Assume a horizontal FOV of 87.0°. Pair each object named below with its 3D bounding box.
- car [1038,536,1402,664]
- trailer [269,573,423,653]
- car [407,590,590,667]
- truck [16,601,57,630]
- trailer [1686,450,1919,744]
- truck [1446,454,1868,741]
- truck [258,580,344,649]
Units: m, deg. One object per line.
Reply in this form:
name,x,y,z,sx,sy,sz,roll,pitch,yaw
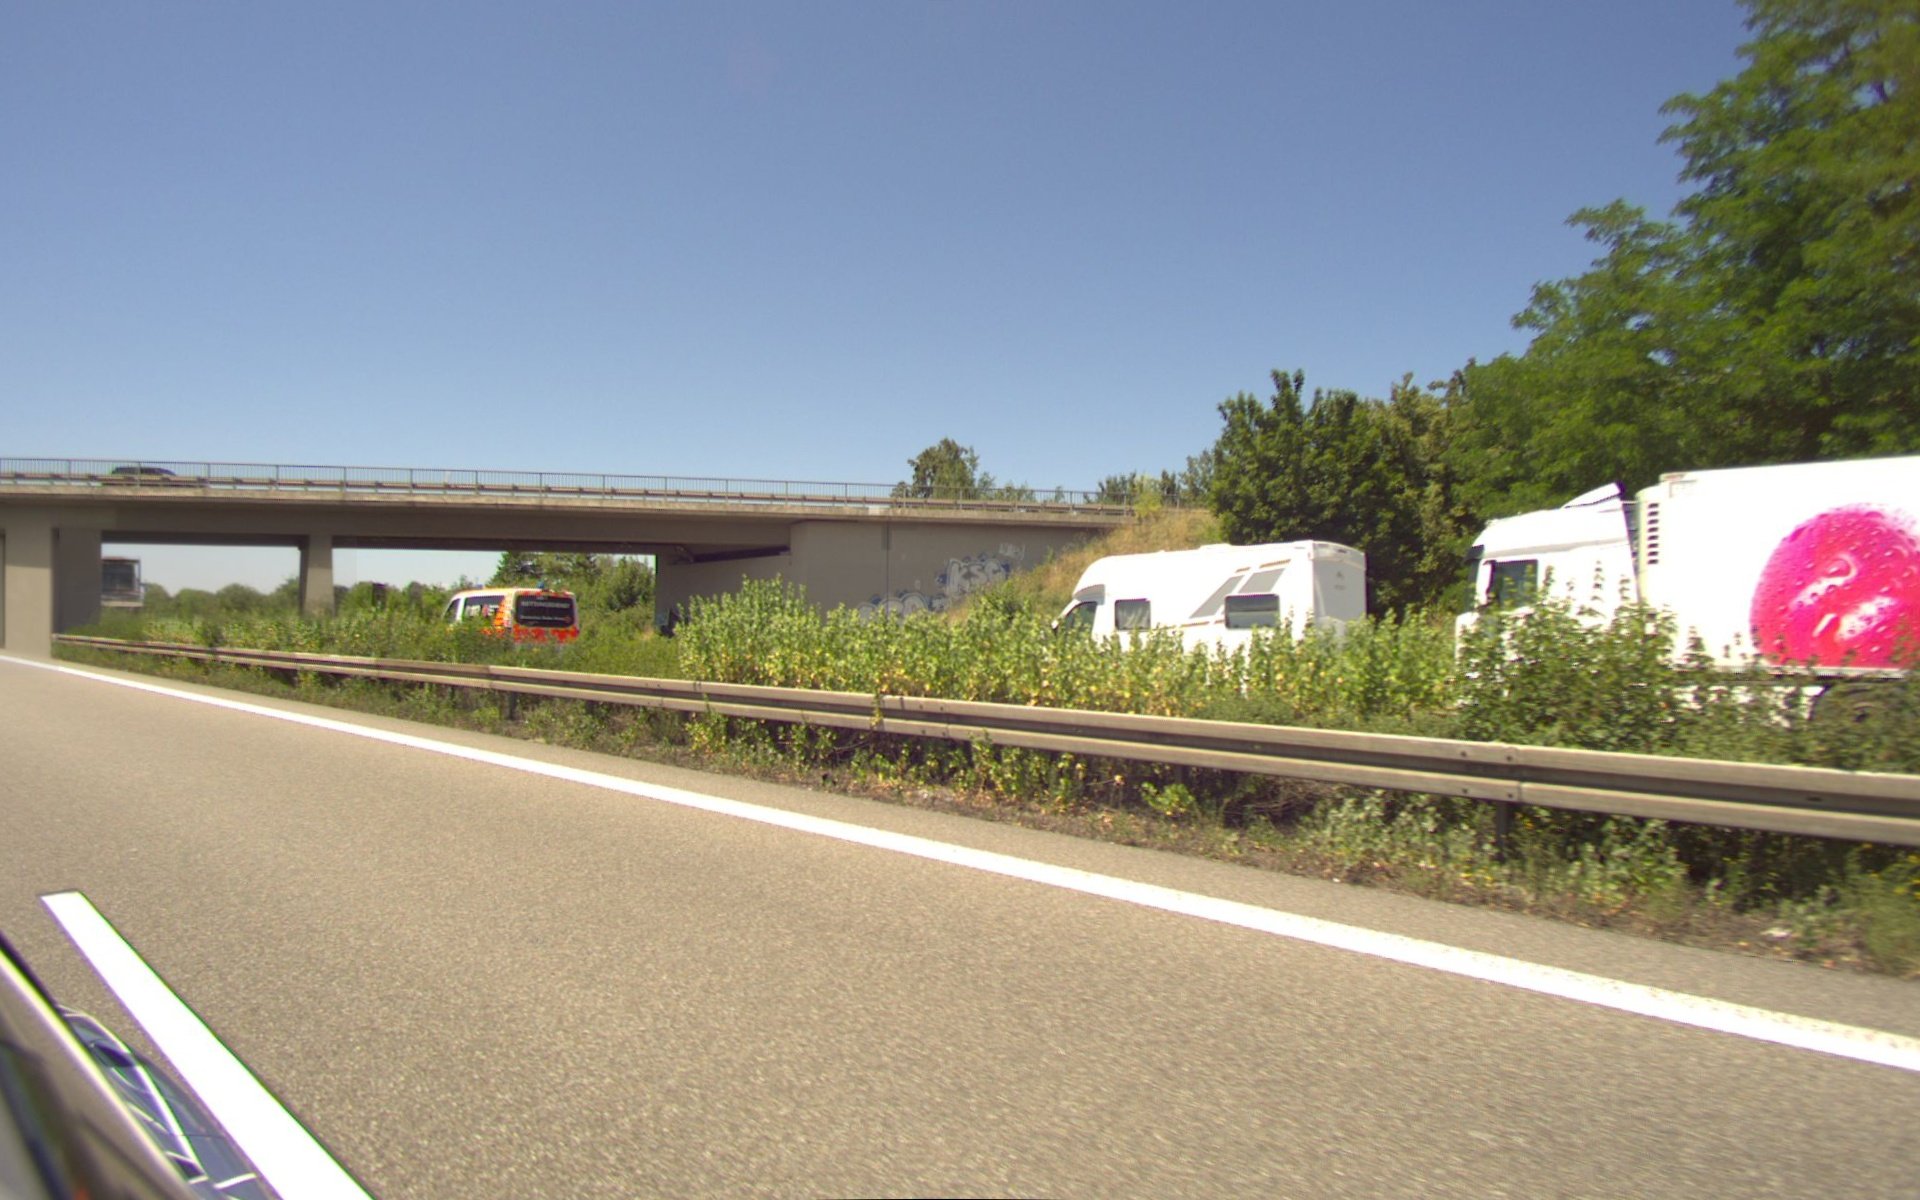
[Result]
car,4.162,0.034,16.849,5.421,1.794,2.278,-1,0,41
trailer,-34.165,0.741,55.771,15.573,3.913,2.585,-1,0,41
car,-12.045,0.696,26.232,5.454,1.794,2.072,-1,0,39
truck,-119.310,1.983,130.700,10.732,3.524,2.847,-1,0,42
trailer,16.558,-0.127,10.945,13.921,3.738,2.796,-1,0,41
truck,10.846,-0.011,15.996,5.115,3.749,2.766,-1,0,42
truck,-39.266,0.854,60.210,6.496,3.927,2.585,-1,0,41
